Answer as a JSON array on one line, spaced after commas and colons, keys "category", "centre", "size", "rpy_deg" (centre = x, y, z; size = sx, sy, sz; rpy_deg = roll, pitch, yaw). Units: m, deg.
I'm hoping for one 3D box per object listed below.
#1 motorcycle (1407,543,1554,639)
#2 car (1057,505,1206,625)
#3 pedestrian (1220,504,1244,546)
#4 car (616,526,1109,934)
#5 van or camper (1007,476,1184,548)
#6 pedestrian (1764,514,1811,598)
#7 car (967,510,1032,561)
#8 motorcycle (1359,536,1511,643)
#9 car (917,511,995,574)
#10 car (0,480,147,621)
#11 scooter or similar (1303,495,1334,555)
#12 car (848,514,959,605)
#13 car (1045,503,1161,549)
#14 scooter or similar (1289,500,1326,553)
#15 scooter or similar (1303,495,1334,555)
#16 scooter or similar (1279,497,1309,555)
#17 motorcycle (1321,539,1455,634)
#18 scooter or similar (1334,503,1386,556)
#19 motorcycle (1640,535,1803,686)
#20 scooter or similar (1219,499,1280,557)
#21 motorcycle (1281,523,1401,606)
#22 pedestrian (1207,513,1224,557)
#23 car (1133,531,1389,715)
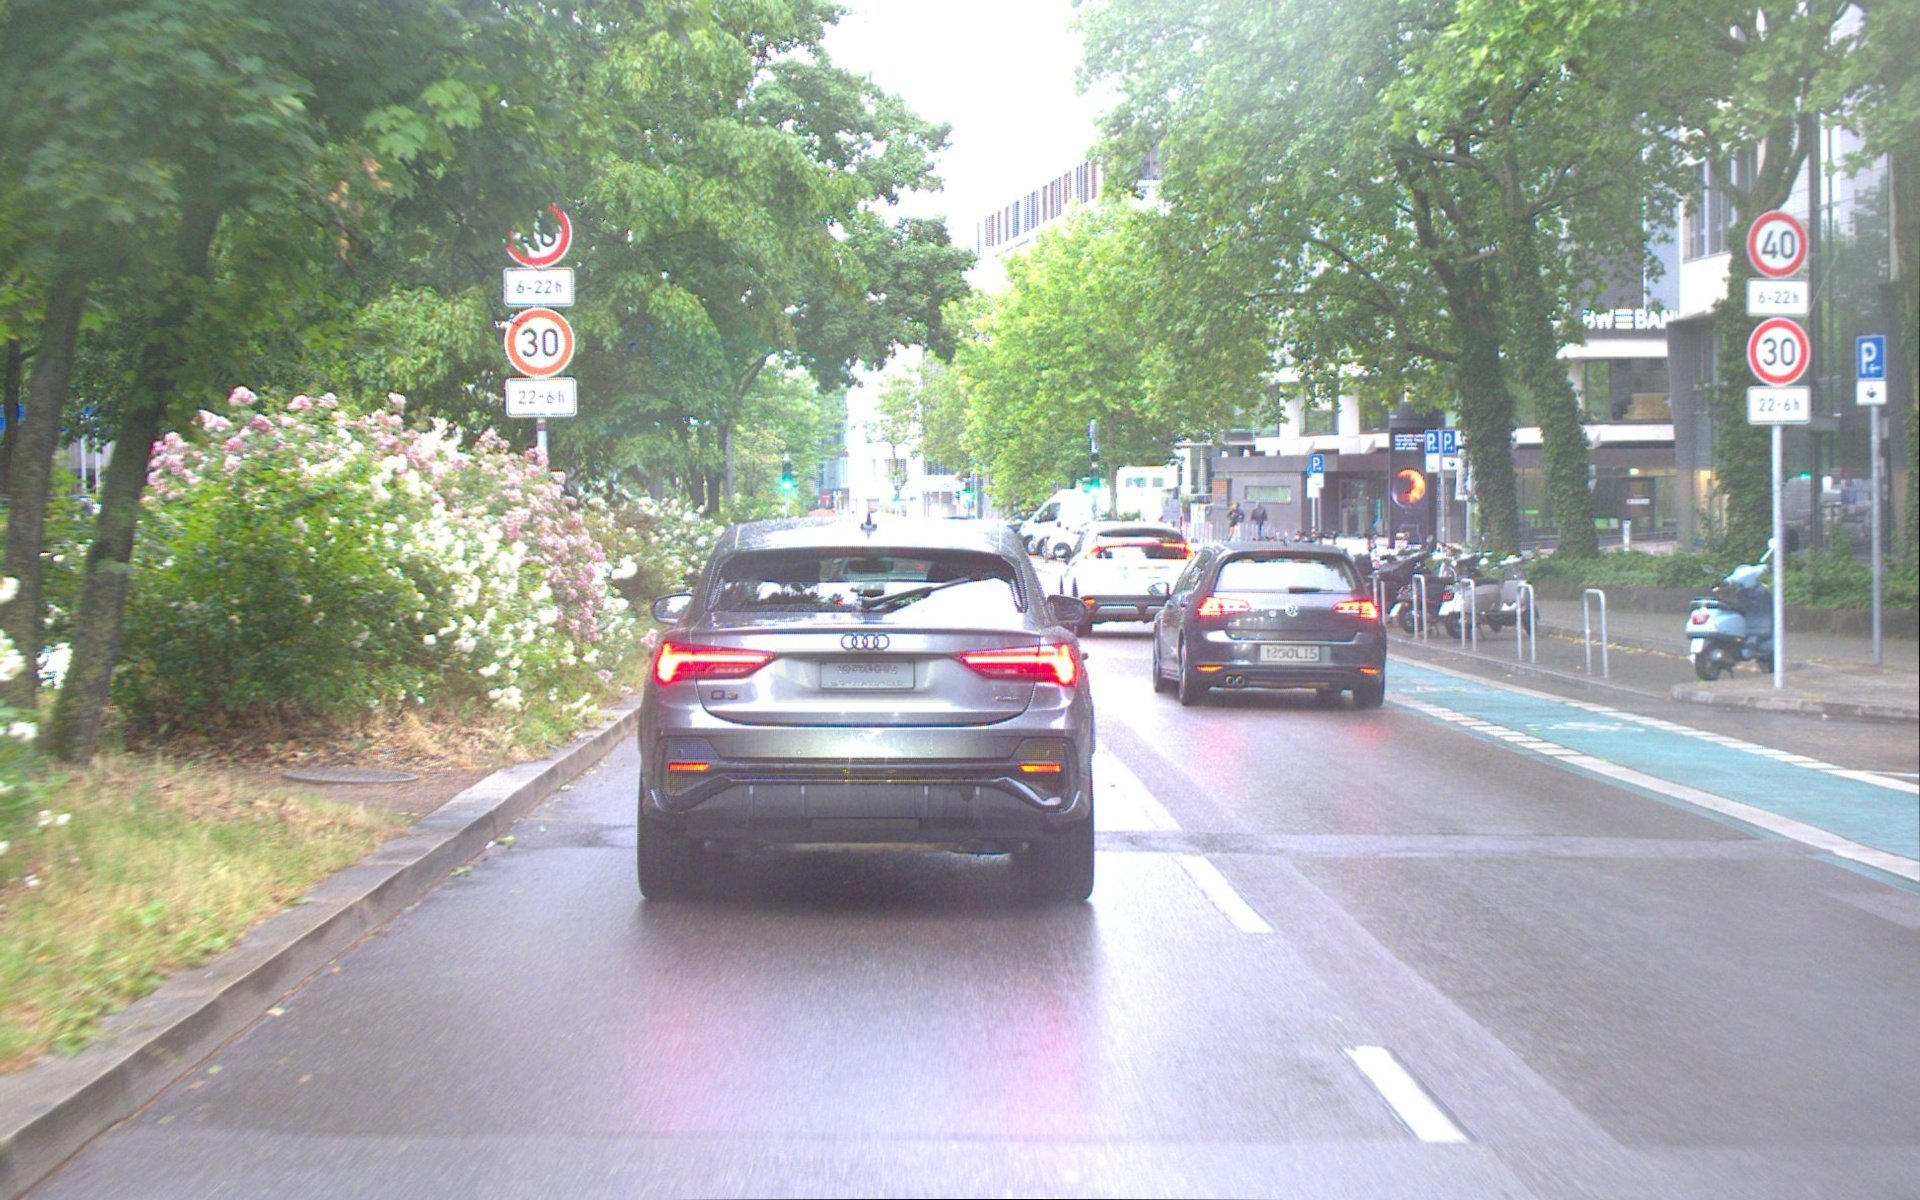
[{"category": "motorcycle", "centre": [7.141, -0.133, 47.114], "size": [2.054, 1.208, 0.685], "rpy_deg": [-4, 1, -36]}, {"category": "car", "centre": [2.438, -0.535, 49.768], "size": [1.849, 1.663, 4.039], "rpy_deg": [0, 1, -1]}, {"category": "pedestrian", "centre": [11.114, -3.062, 140.549], "size": [0.805, 1.690, 1.187], "rpy_deg": [1, 1, -3]}, {"category": "car", "centre": [-0.436, 0.449, 14.943], "size": [1.849, 1.518, 4.039], "rpy_deg": [0, 1, -2]}, {"category": "van or camper", "centre": [4.872, -3.146, 123.834], "size": [6.074, 2.549, 2.102], "rpy_deg": [0, 1, 26]}, {"category": "pedestrian", "centre": [17.832, -0.956, 74.076], "size": [0.825, 1.797, 0.729], "rpy_deg": [0, 1, 2]}, {"category": "car", "centre": [1.184, -1.980, 105.027], "size": [1.849, 1.518, 4.039], "rpy_deg": [0, 1, -1]}, {"category": "motorcycle", "centre": [6.838, -0.165, 49.487], "size": [2.053, 1.423, 0.729], "rpy_deg": [-3, 3, -22]}, {"category": "car", "centre": [-0.123, -1.445, 85.566], "size": [1.849, 1.518, 4.039], "rpy_deg": [0, 1, -1]}, {"category": "car", "centre": [-11.211, -0.623, 41.780], "size": [1.722, 1.632, 4.015], "rpy_deg": [1, 1, 0]}, {"category": "scooter or similar", "centre": [7.780, -1.638, 74.558], "size": [0.487, 1.255, 1.294], "rpy_deg": [-1, 3, -1]}, {"category": "car", "centre": [-0.992, -0.733, 59.734], "size": [1.849, 1.518, 4.039], "rpy_deg": [0, 1, -1]}, {"category": "car", "centre": [4.912, -2.548, 117.898], "size": [3.652, 1.542, 1.713], "rpy_deg": [1, 2, 18]}, {"category": "scooter or similar", "centre": [7.909, -1.676, 78.327], "size": [0.487, 1.193, 1.294], "rpy_deg": [0, 1, -10]}, {"category": "scooter or similar", "centre": [7.780, -1.638, 74.558], "size": [0.487, 1.255, 1.294], "rpy_deg": [-1, 3, -1]}, {"category": "scooter or similar", "centre": [7.523, -1.670, 77.466], "size": [0.487, 1.255, 1.294], "rpy_deg": [-1, 3, -1]}, {"category": "motorcycle", "centre": [6.706, -0.221, 53.881], "size": [1.955, 1.369, 0.729], "rpy_deg": [-3, 3, -22]}, {"category": "scooter or similar", "centre": [9.085, -1.604, 78.118], "size": [0.487, 1.193, 1.293], "rpy_deg": [0, 1, -32]}, {"category": "motorcycle", "centre": [7.465, 0.089, 33.635], "size": [0.684, 1.362, 1.941], "rpy_deg": [-3, 1, 39]}, {"category": "scooter or similar", "centre": [6.483, -1.612, 76.879], "size": [1.290, 1.255, 0.489], "rpy_deg": [-1, 3, 11]}, {"category": "motorcycle", "centre": [6.720, -0.642, 60.637], "size": [1.955, 1.369, 0.729], "rpy_deg": [-2, 3, -17]}, {"category": "pedestrian", "centre": [10.600, -2.696, 142.697], "size": [0.553, 1.799, 0.762], "rpy_deg": [1, 1, -4]}, {"category": "car", "centre": [2.623, 0.155, 30.843], "size": [1.849, 1.518, 4.039], "rpy_deg": [0, 1, -1]}]
